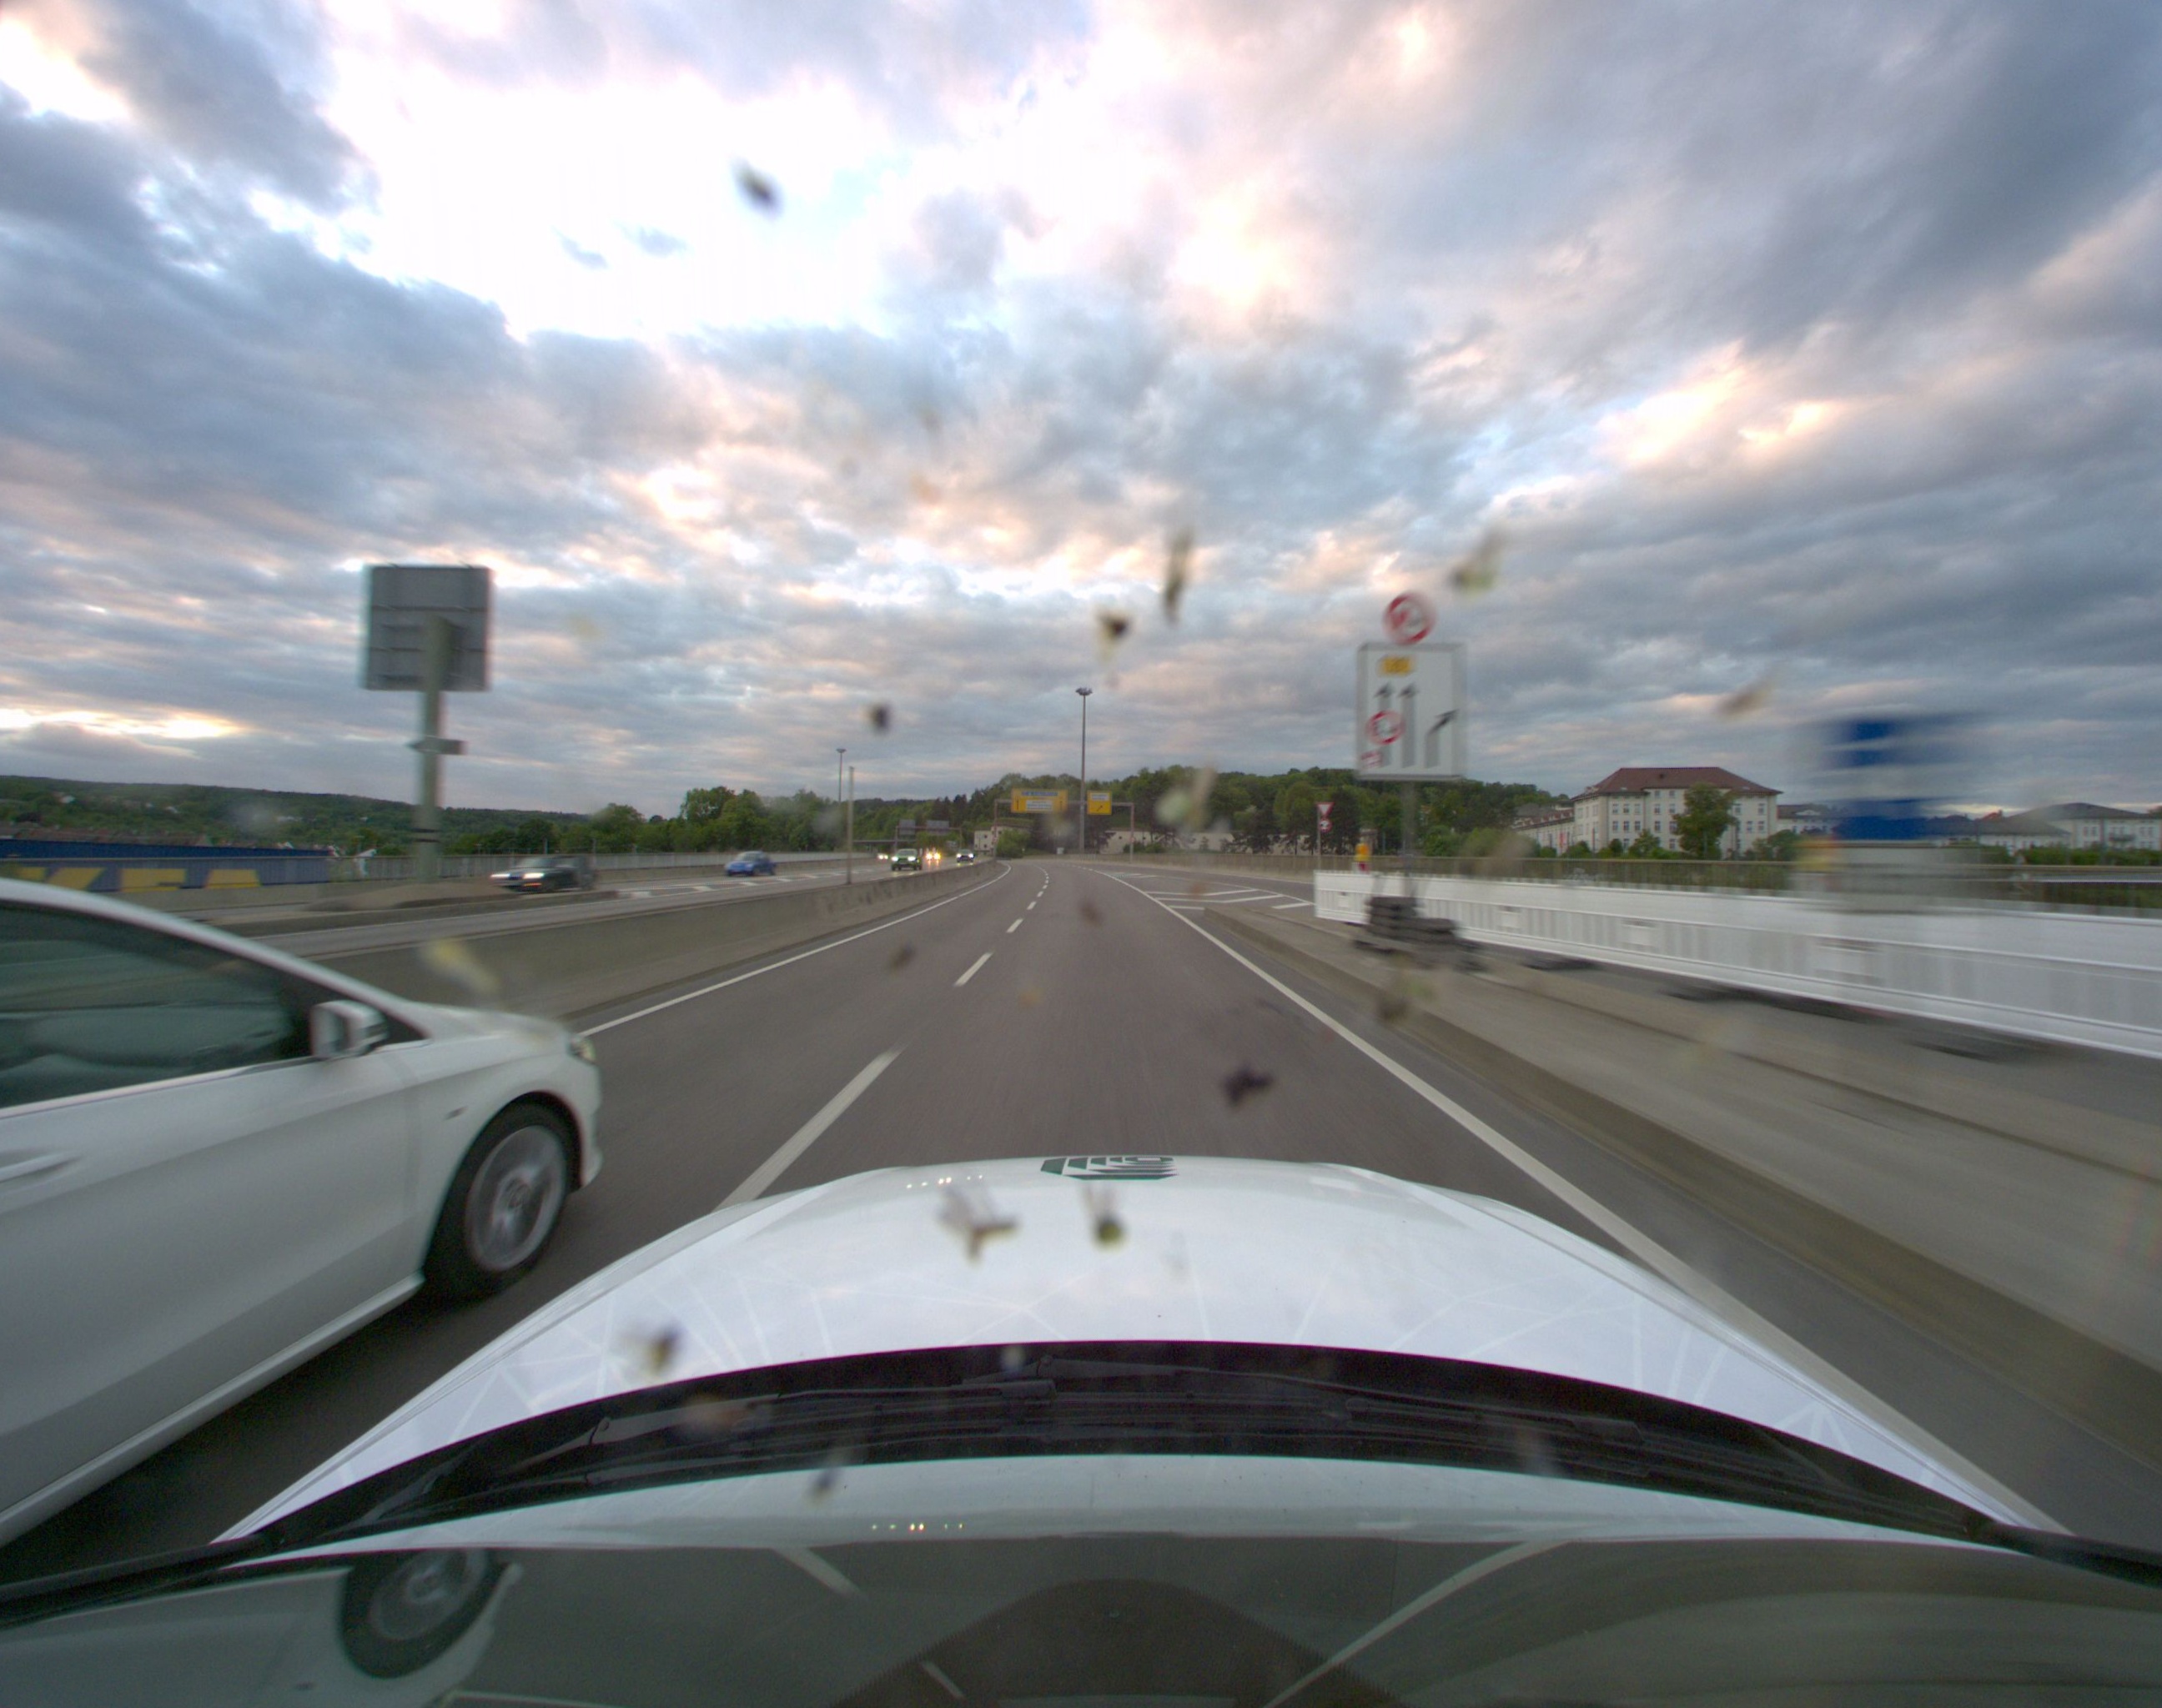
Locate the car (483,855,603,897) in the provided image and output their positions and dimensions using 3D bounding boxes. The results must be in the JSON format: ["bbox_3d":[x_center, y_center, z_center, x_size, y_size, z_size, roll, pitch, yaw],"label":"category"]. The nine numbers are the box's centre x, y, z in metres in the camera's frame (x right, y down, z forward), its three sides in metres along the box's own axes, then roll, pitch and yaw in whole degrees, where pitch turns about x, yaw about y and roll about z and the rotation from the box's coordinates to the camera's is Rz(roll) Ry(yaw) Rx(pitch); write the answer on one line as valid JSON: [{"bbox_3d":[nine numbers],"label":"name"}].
[{"bbox_3d":[-19.926,0.784,30.373,1.789,1.486,3.844,0,0,3],"label":"car"}]

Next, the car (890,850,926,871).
[{"bbox_3d":[-12.478,0.441,58.855,1.705,1.494,4.081,0,0,0],"label":"car"}]

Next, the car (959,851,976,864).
[{"bbox_3d":[-13.275,0.388,95.391,1.809,1.534,4.535,0,0,-7],"label":"car"}]

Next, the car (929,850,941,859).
[{"bbox_3d":[-23.833,0.129,132.723,1.733,1.476,4.204,0,0,-13],"label":"car"}]

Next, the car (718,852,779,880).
[{"bbox_3d":[-19.817,0.673,48.711,1.891,1.596,4.163,0,0,1],"label":"car"}]

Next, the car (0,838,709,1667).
[{"bbox_3d":[-2.847,0.752,1.850,1.684,1.537,4.785,-1,0,1],"label":"car"}]
